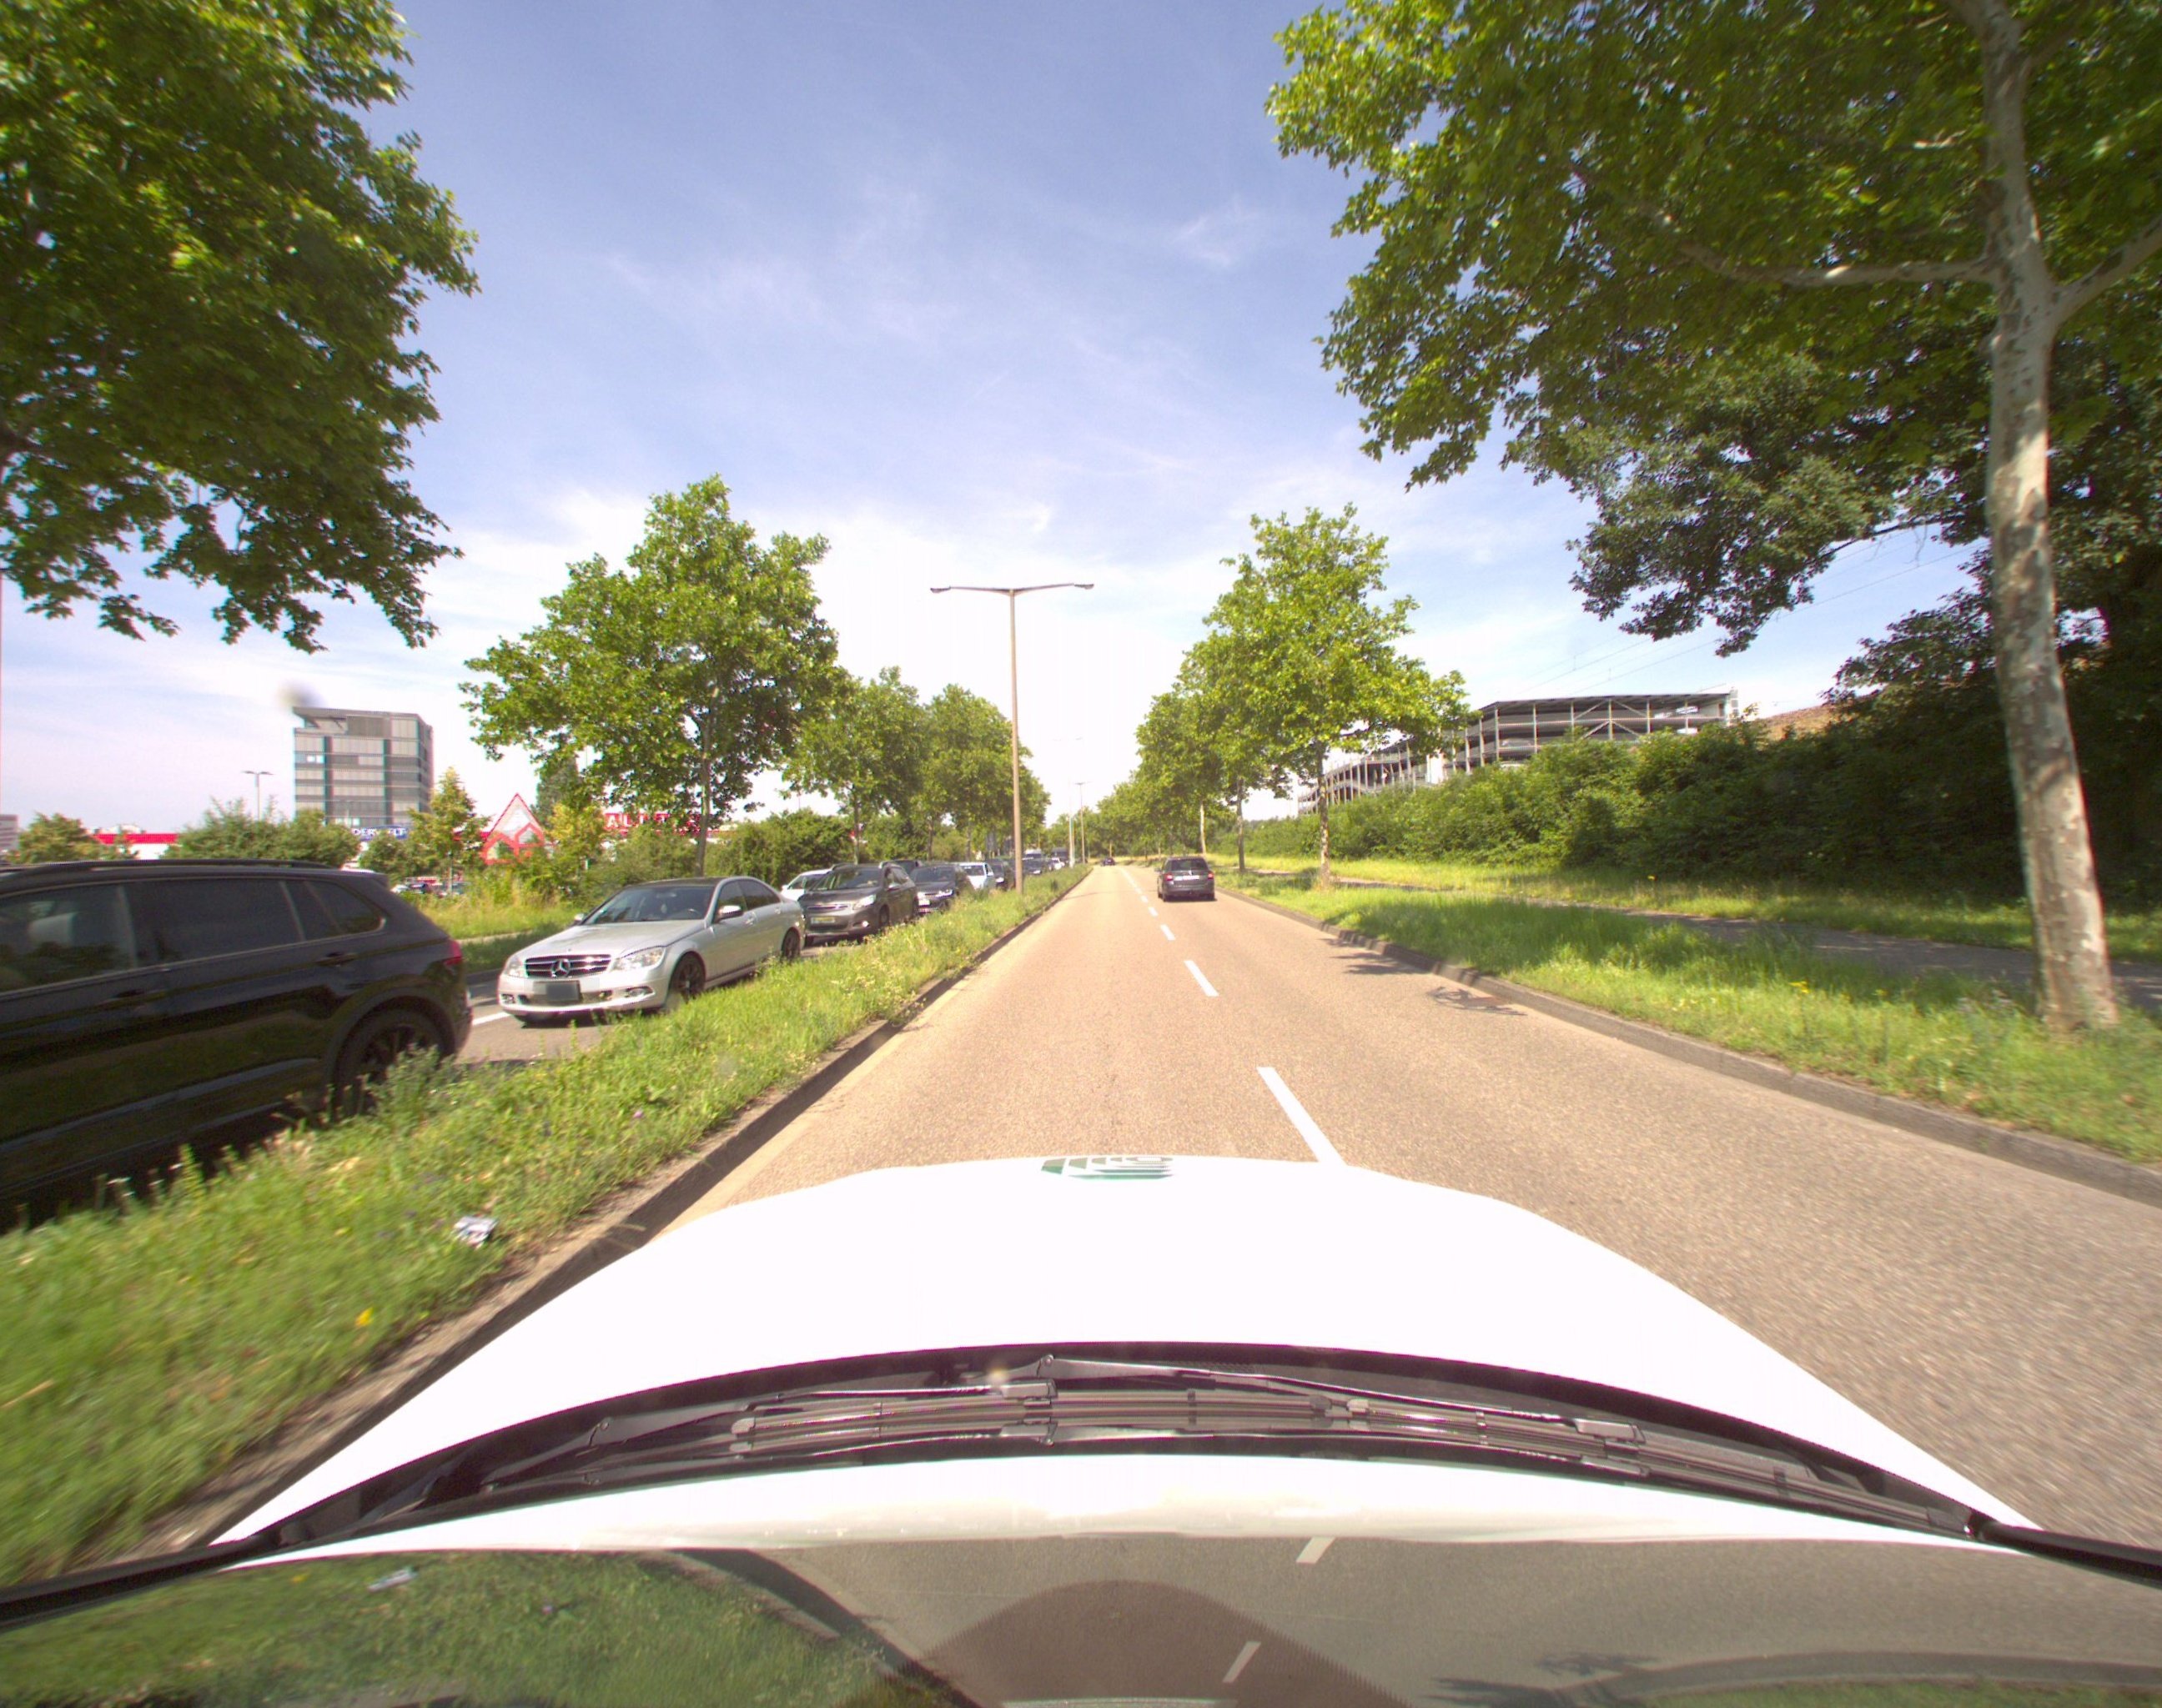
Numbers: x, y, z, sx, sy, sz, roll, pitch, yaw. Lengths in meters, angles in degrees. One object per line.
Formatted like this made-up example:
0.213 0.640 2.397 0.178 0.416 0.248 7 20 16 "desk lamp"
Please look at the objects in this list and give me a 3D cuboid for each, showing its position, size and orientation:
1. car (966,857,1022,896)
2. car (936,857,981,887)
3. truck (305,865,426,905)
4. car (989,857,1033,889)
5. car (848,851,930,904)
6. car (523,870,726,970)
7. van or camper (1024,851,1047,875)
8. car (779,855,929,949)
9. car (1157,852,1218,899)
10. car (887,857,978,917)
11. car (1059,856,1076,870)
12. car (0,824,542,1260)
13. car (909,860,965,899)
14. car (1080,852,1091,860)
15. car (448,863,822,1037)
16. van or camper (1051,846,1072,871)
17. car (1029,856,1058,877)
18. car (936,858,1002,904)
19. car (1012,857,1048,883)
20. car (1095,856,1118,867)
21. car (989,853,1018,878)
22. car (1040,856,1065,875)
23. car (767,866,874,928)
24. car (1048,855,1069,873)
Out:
-3.877 0.955 36.934 1.751 1.530 4.830 -3 0 2 "car"
-6.713 0.954 45.066 1.682 1.530 3.941 -3 0 2 "car"
-42.648 1.812 48.637 5.256 2.128 1.975 -2 0 -45 "truck"
-3.618 0.971 42.665 1.778 1.489 4.212 -3 0 1 "car"
-7.101 0.855 30.639 1.815 1.737 4.768 -3 -1 1 "car"
-8.245 1.121 15.088 1.559 1.452 3.546 -4 0 2 "car"
-5.066 0.983 91.164 2.007 2.587 5.520 -3 0 2 "van or camper"
-4.480 0.866 16.772 1.682 1.586 4.242 -3 0 2 "car"
3.475 0.656 27.202 1.667 1.453 4.038 0 0 2 "car"
-4.258 0.901 24.063 1.682 1.473 4.220 -4 0 2 "car"
-1.559 1.033 93.019 1.682 1.530 3.816 -3 -1 2 "car"
-4.992 0.760 3.675 1.813 1.646 4.696 -3 -1 2 "car"
-6.762 1.143 38.632 1.682 1.646 4.180 -3 0 2 "car"
0.861 0.379 153.053 1.903 1.463 4.579 -2 -1 -1 "car"
-4.852 0.918 9.803 1.789 1.468 4.525 -3 0 2 "car"
-2.019 0.499 85.506 1.932 2.368 5.398 -3 -1 1 "van or camper"
-2.899 0.948 63.874 1.806 1.530 4.644 -3 0 2 "car"
-4.023 0.940 29.743 1.682 1.472 3.816 -3 0 2 "car"
-3.118 0.962 50.655 1.817 1.465 4.451 -3 0 1 "car"
3.977 1.175 128.439 1.916 1.463 4.587 -2 1 -22 "car"
-6.035 0.881 63.804 1.682 1.858 4.038 -3 -1 2 "car"
-2.412 0.957 69.923 1.777 1.459 4.474 -2 0 2 "car"
-7.553 1.189 24.035 1.683 1.530 4.085 -4 0 1 "car"
-2.059 0.934 76.349 1.682 1.510 3.816 -3 0 2 "car"
